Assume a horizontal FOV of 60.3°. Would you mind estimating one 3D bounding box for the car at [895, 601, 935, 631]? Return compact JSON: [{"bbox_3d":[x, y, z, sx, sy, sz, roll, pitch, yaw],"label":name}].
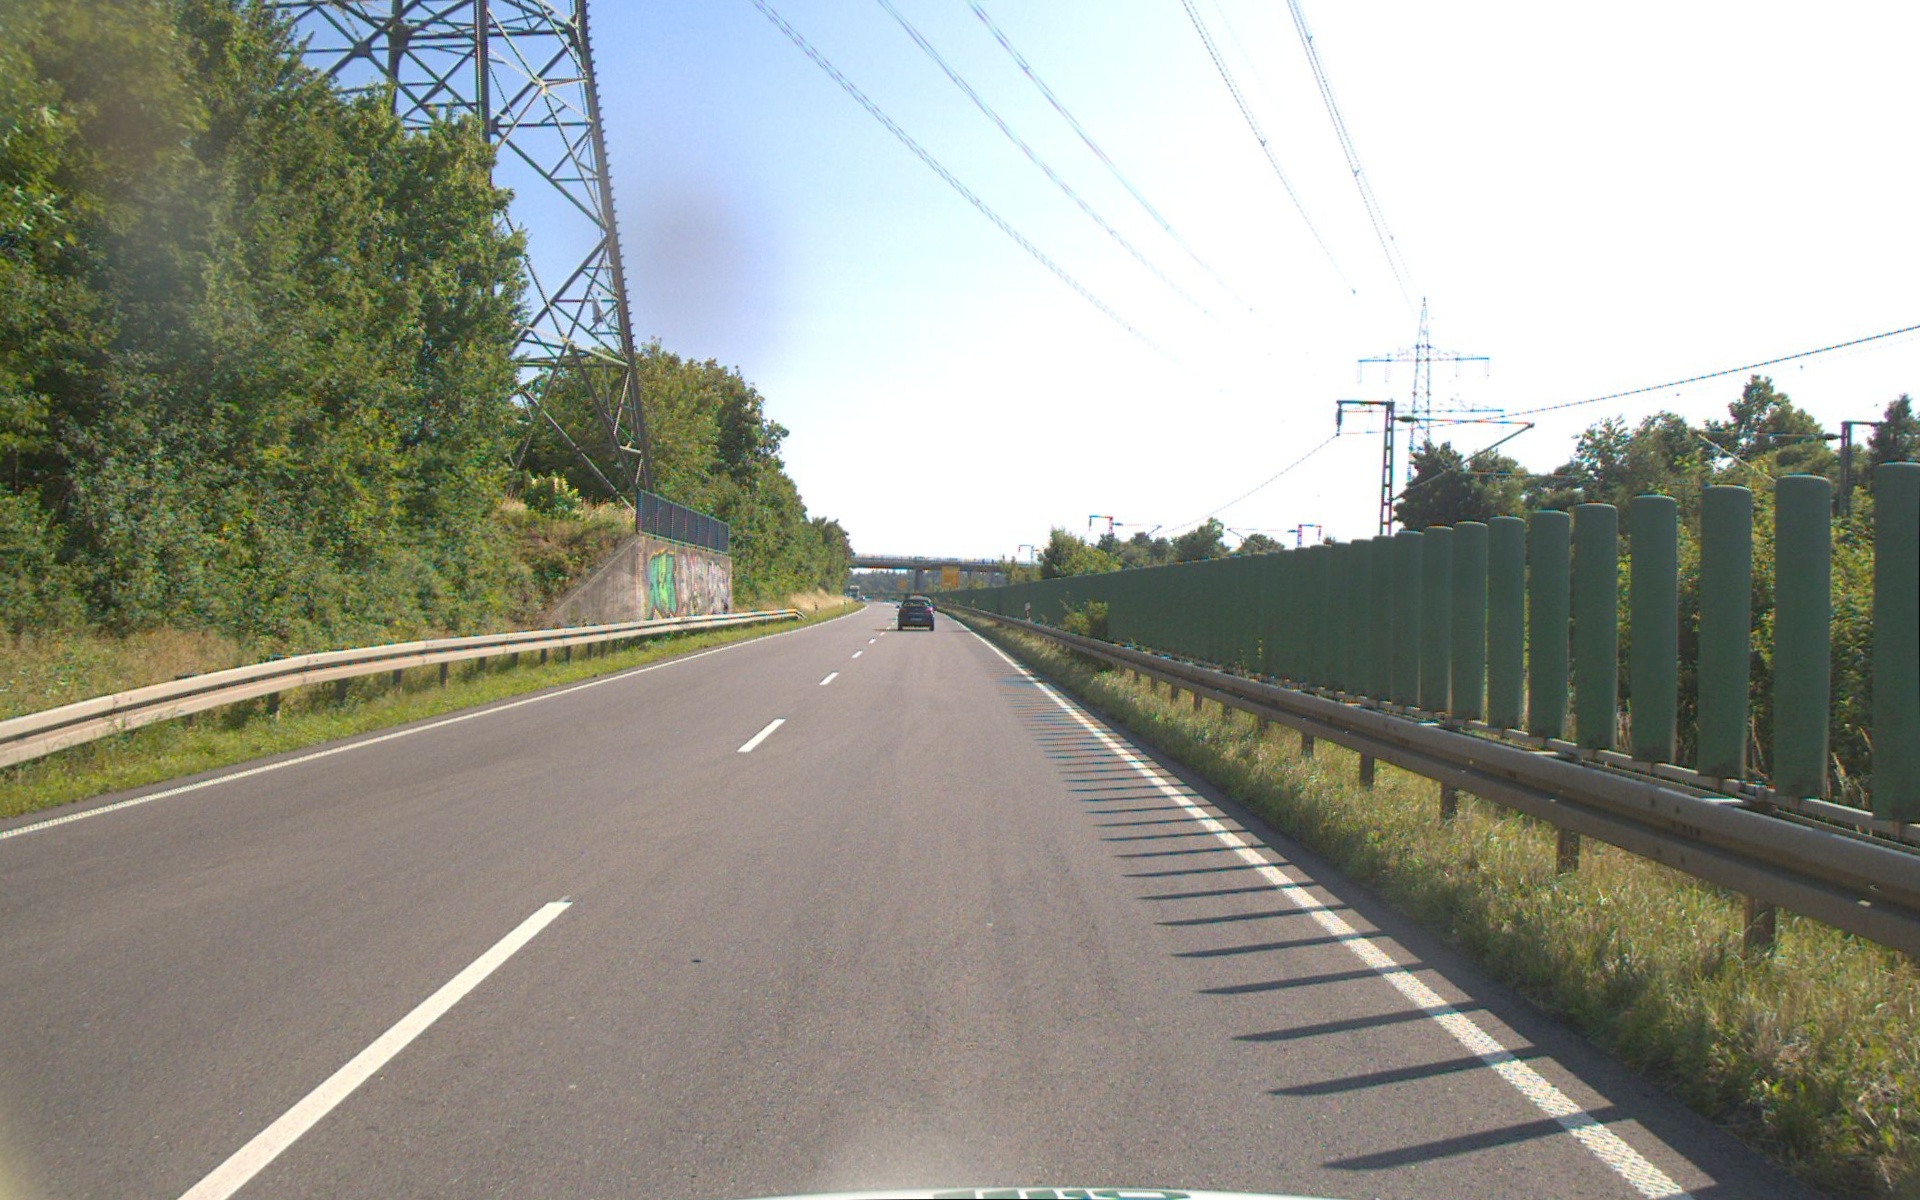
[{"bbox_3d":[-2.046,0.703,74.059,1.630,1.283,3.997,1,0,-4],"label":"car"}]
